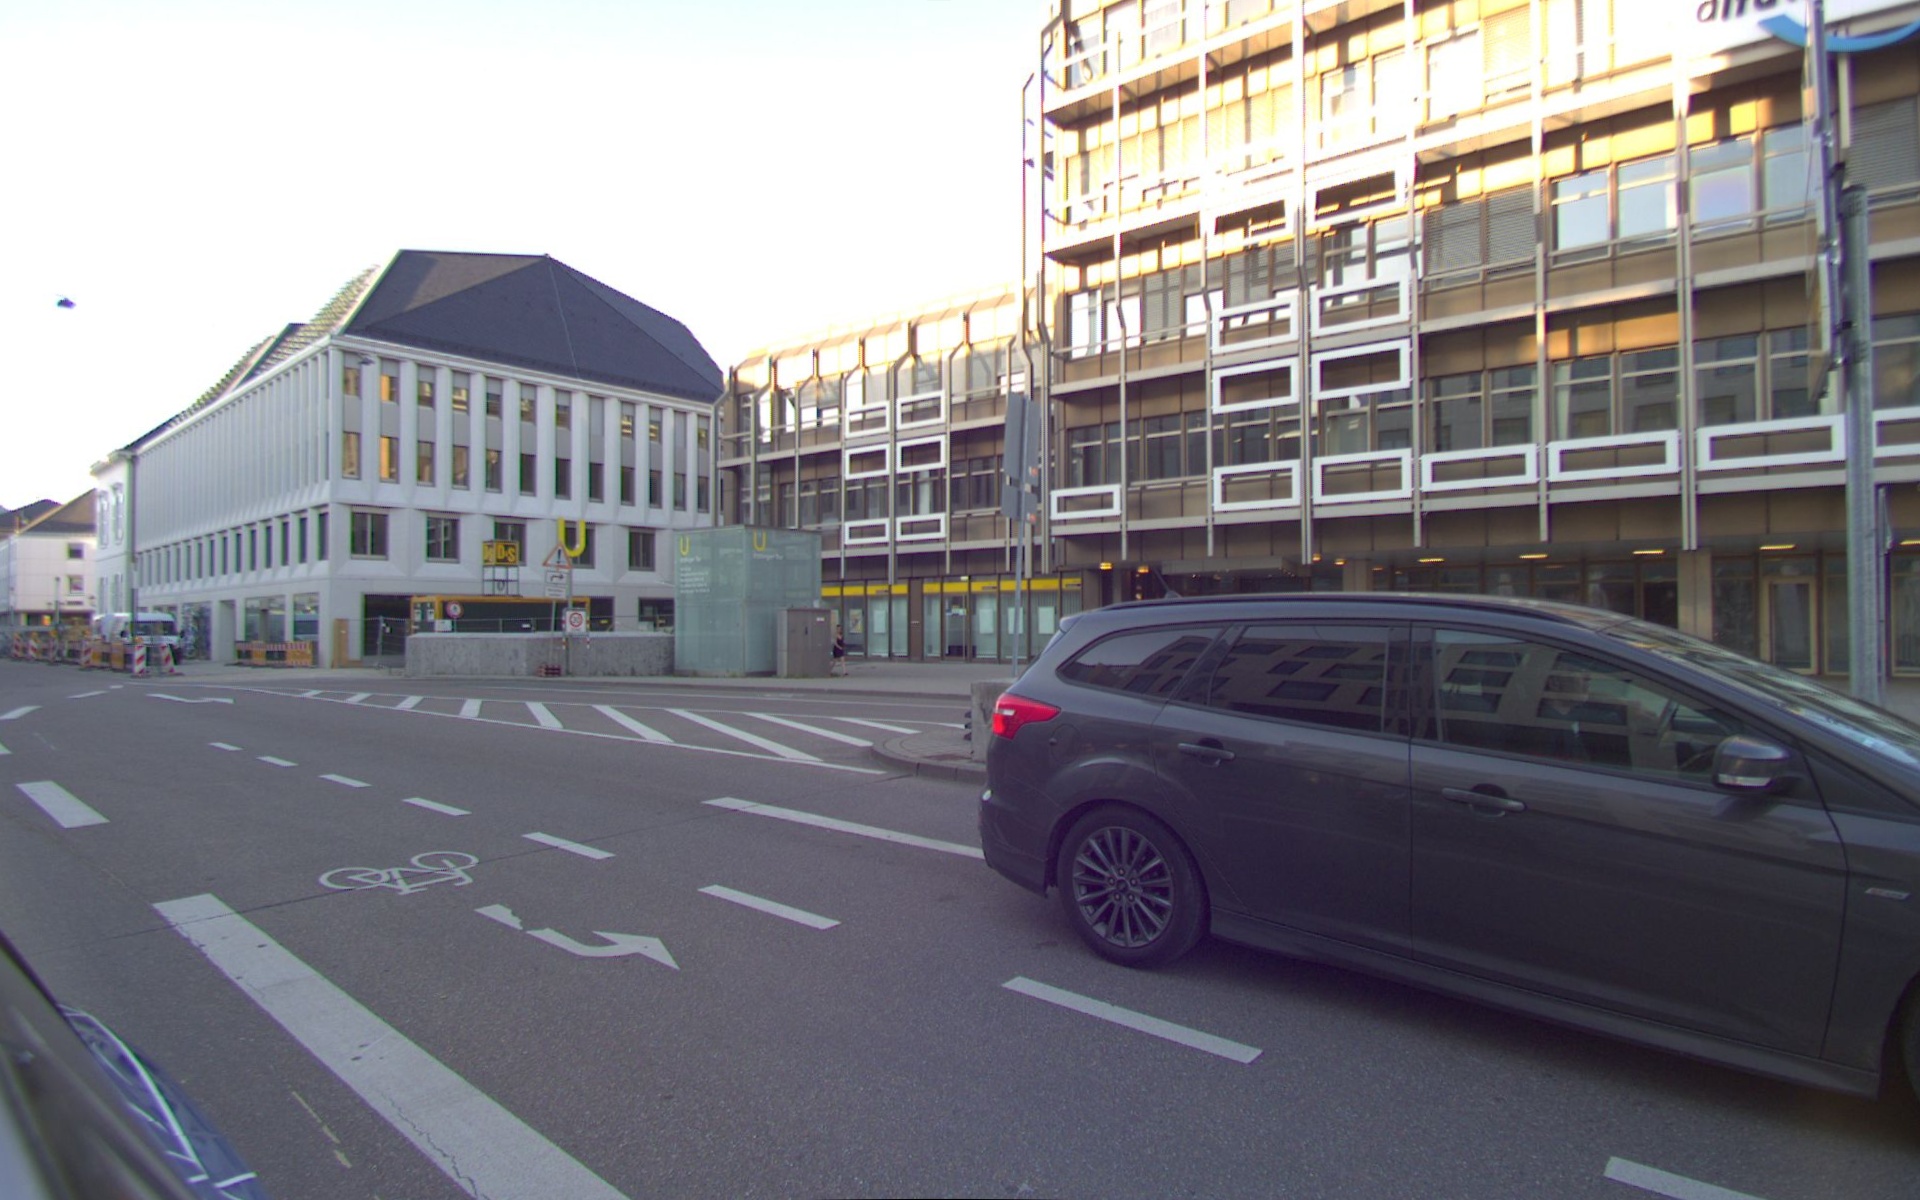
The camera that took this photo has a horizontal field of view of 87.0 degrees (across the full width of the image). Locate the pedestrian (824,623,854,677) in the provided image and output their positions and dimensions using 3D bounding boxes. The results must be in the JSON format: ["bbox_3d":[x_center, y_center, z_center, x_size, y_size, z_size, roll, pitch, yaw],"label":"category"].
[{"bbox_3d":[-3.729,1.540,31.184,0.702,1.652,0.608,-2,-3,41],"label":"pedestrian"}]

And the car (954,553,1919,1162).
[{"bbox_3d":[2.211,0.638,3.686,4.377,1.473,1.740,-2,-1,40],"label":"car"}]

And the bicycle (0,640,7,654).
[{"bbox_3d":[-76.674,3.707,79.648,0.729,1.067,2.341,-2,-3,42],"label":"bicycle"}]

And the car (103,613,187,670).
[{"bbox_3d":[-38.837,1.953,48.162,6.047,2.575,2.114,-2,-3,41],"label":"car"}]
